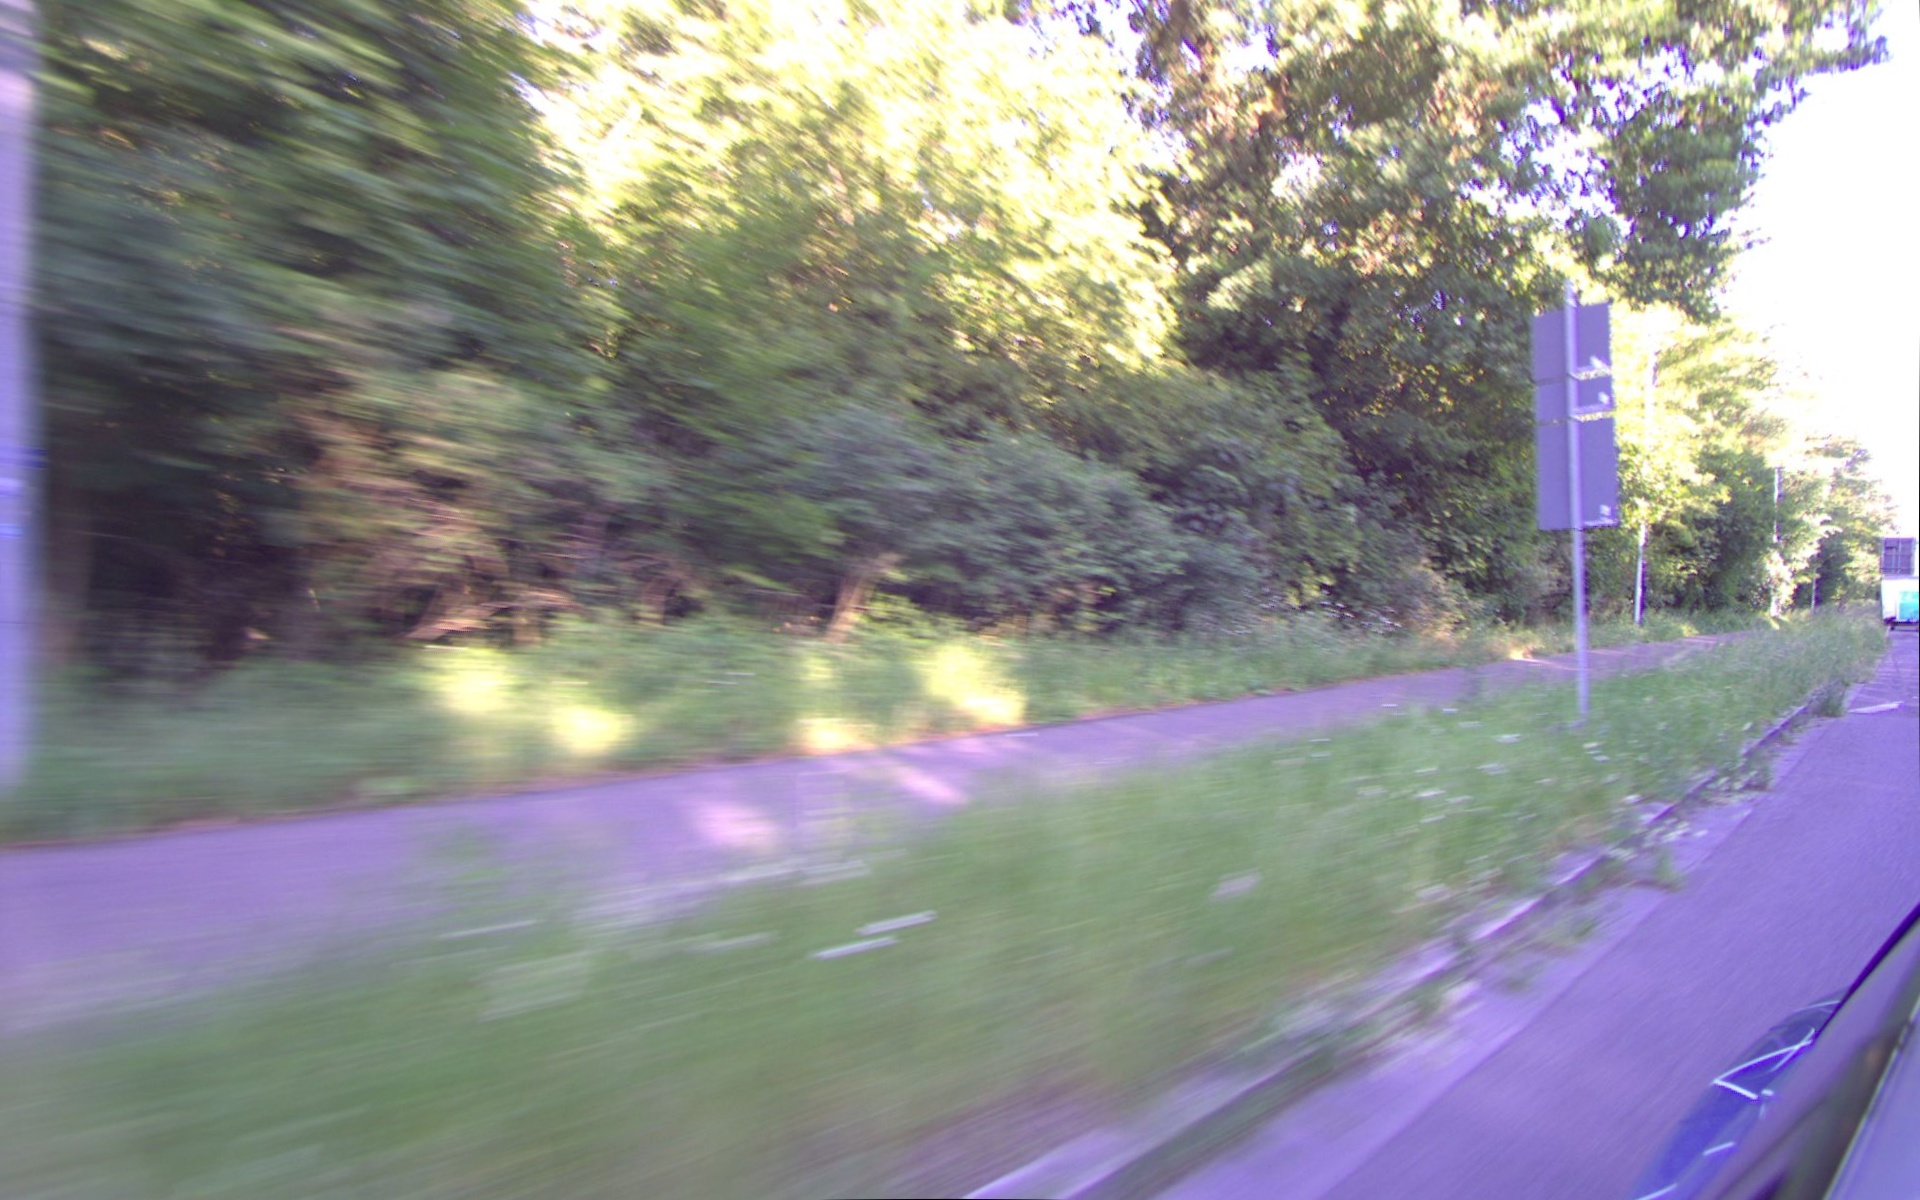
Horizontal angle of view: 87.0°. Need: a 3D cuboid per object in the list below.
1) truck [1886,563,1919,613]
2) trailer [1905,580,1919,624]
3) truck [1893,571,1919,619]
[{"bbox_3d":[66.661,-0.856,70.725,2.699,3.276,7.019,4,4,43],"label":"truck"},{"bbox_3d":[49.968,0.091,52.117,1.864,2.205,4.066,1,1,43],"label":"trailer"},{"bbox_3d":[60.072,-0.368,63.360,2.382,2.908,5.513,-1,0,43],"label":"truck"}]
